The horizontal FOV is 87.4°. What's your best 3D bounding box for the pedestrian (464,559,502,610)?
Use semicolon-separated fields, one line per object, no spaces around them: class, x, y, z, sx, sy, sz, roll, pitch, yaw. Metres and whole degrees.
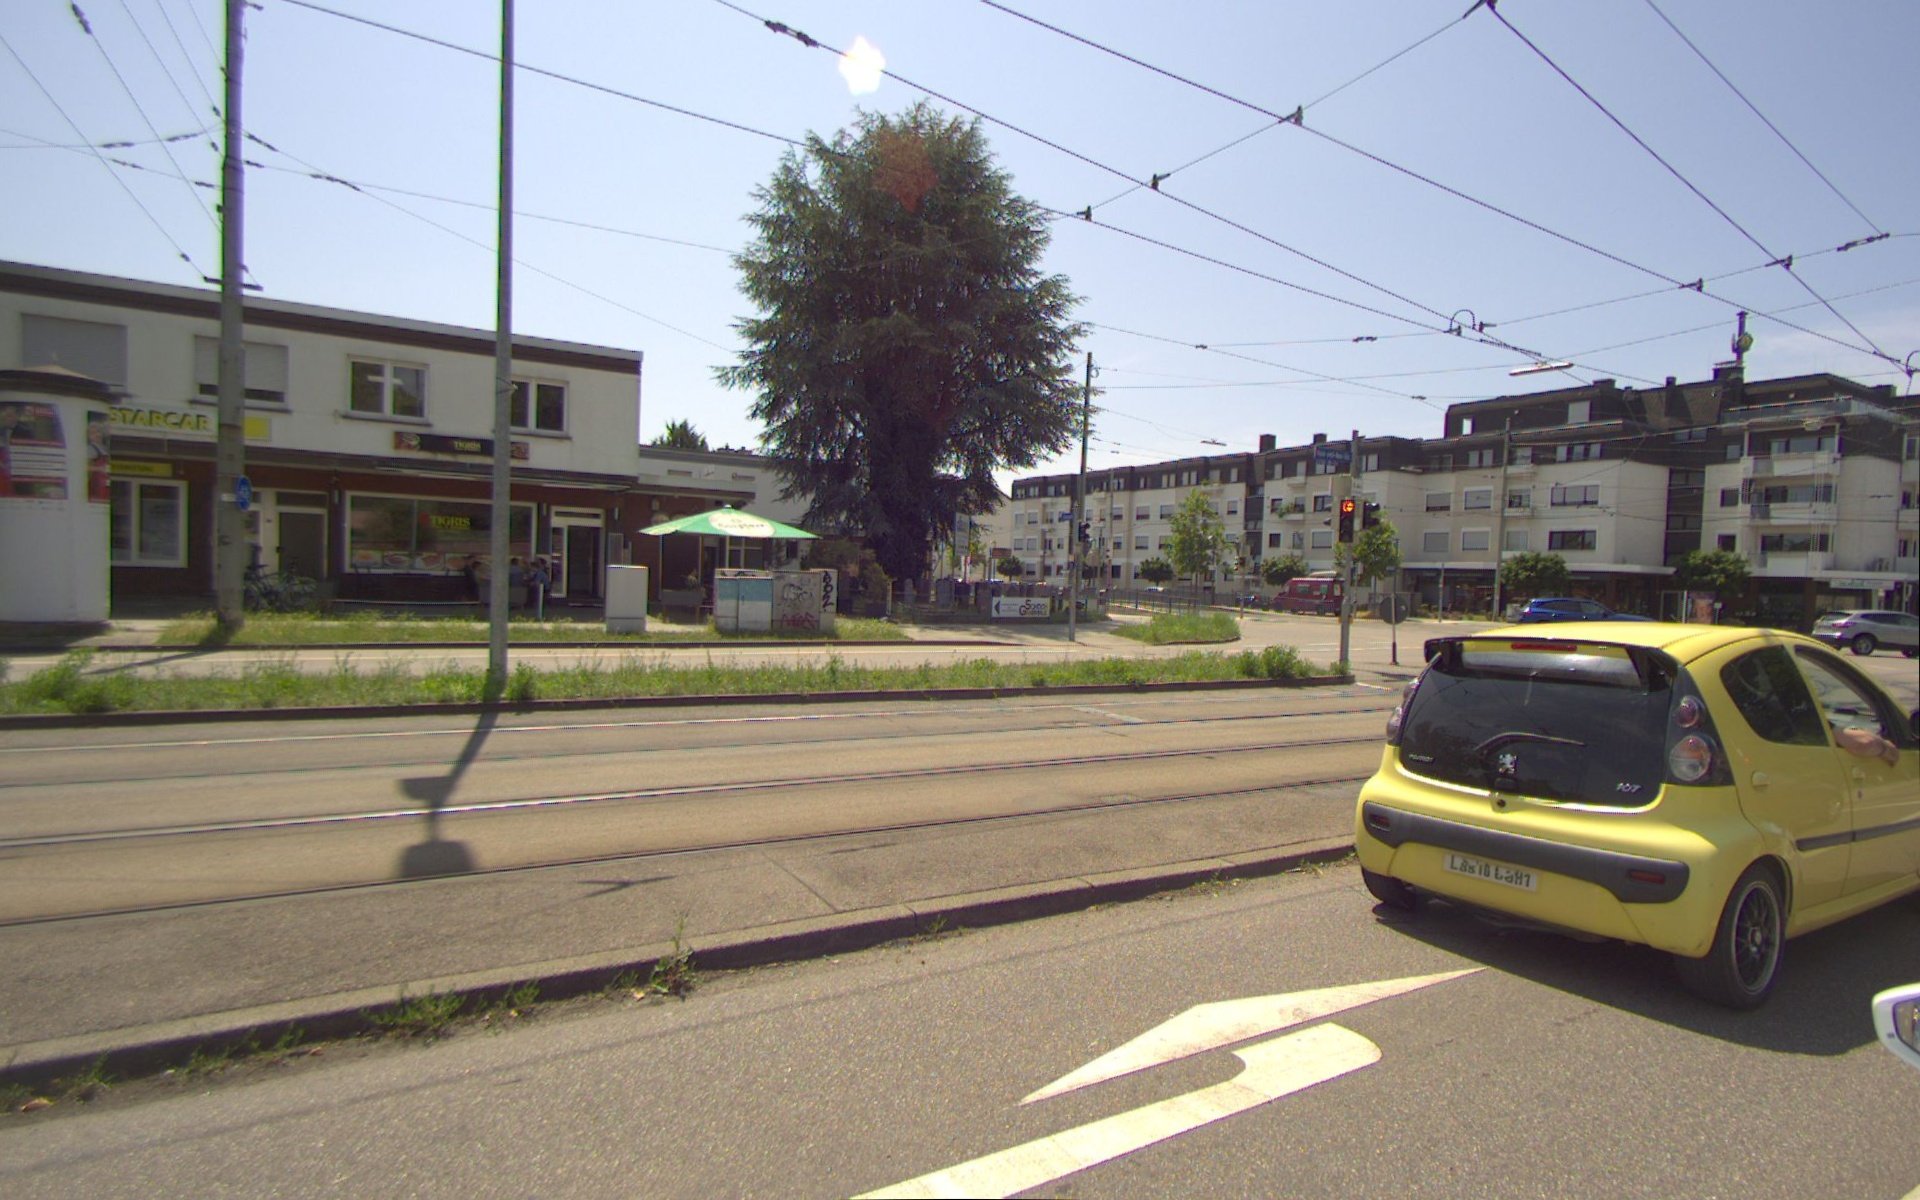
pedestrian;-12.642;-0.402;26.613;0.832;1.285;0.586;2;0;-30

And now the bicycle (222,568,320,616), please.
bicycle;-15.271;-0.167;22.311;1.738;0.992;0.536;2;0;-31

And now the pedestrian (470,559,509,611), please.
pedestrian;-12.185;-0.386;26.000;0.832;1.285;0.586;2;0;-30

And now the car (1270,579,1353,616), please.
car;23.827;-0.189;68.228;2.219;2.372;5.038;2;0;-31

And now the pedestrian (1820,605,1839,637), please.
pedestrian;48.618;1.190;56.179;0.598;1.777;0.506;2;0;16

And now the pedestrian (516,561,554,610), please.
pedestrian;-11.545;-0.378;27.287;0.832;1.285;0.586;2;0;-30

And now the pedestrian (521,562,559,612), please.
pedestrian;-11.141;-0.335;26.671;0.832;1.285;0.586;2;0;-30

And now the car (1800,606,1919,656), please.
car;32.562;1.107;35.392;4.068;1.605;1.941;2;0;10

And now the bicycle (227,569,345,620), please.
bicycle;-14.260;-0.103;21.318;2.006;0.992;0.607;2;0;-31

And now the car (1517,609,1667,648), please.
car;23.847;1.051;38.111;4.700;1.253;1.935;2;0;31

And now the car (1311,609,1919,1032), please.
car;3.575;0.798;5.102;3.254;1.464;1.715;1;0;-31
